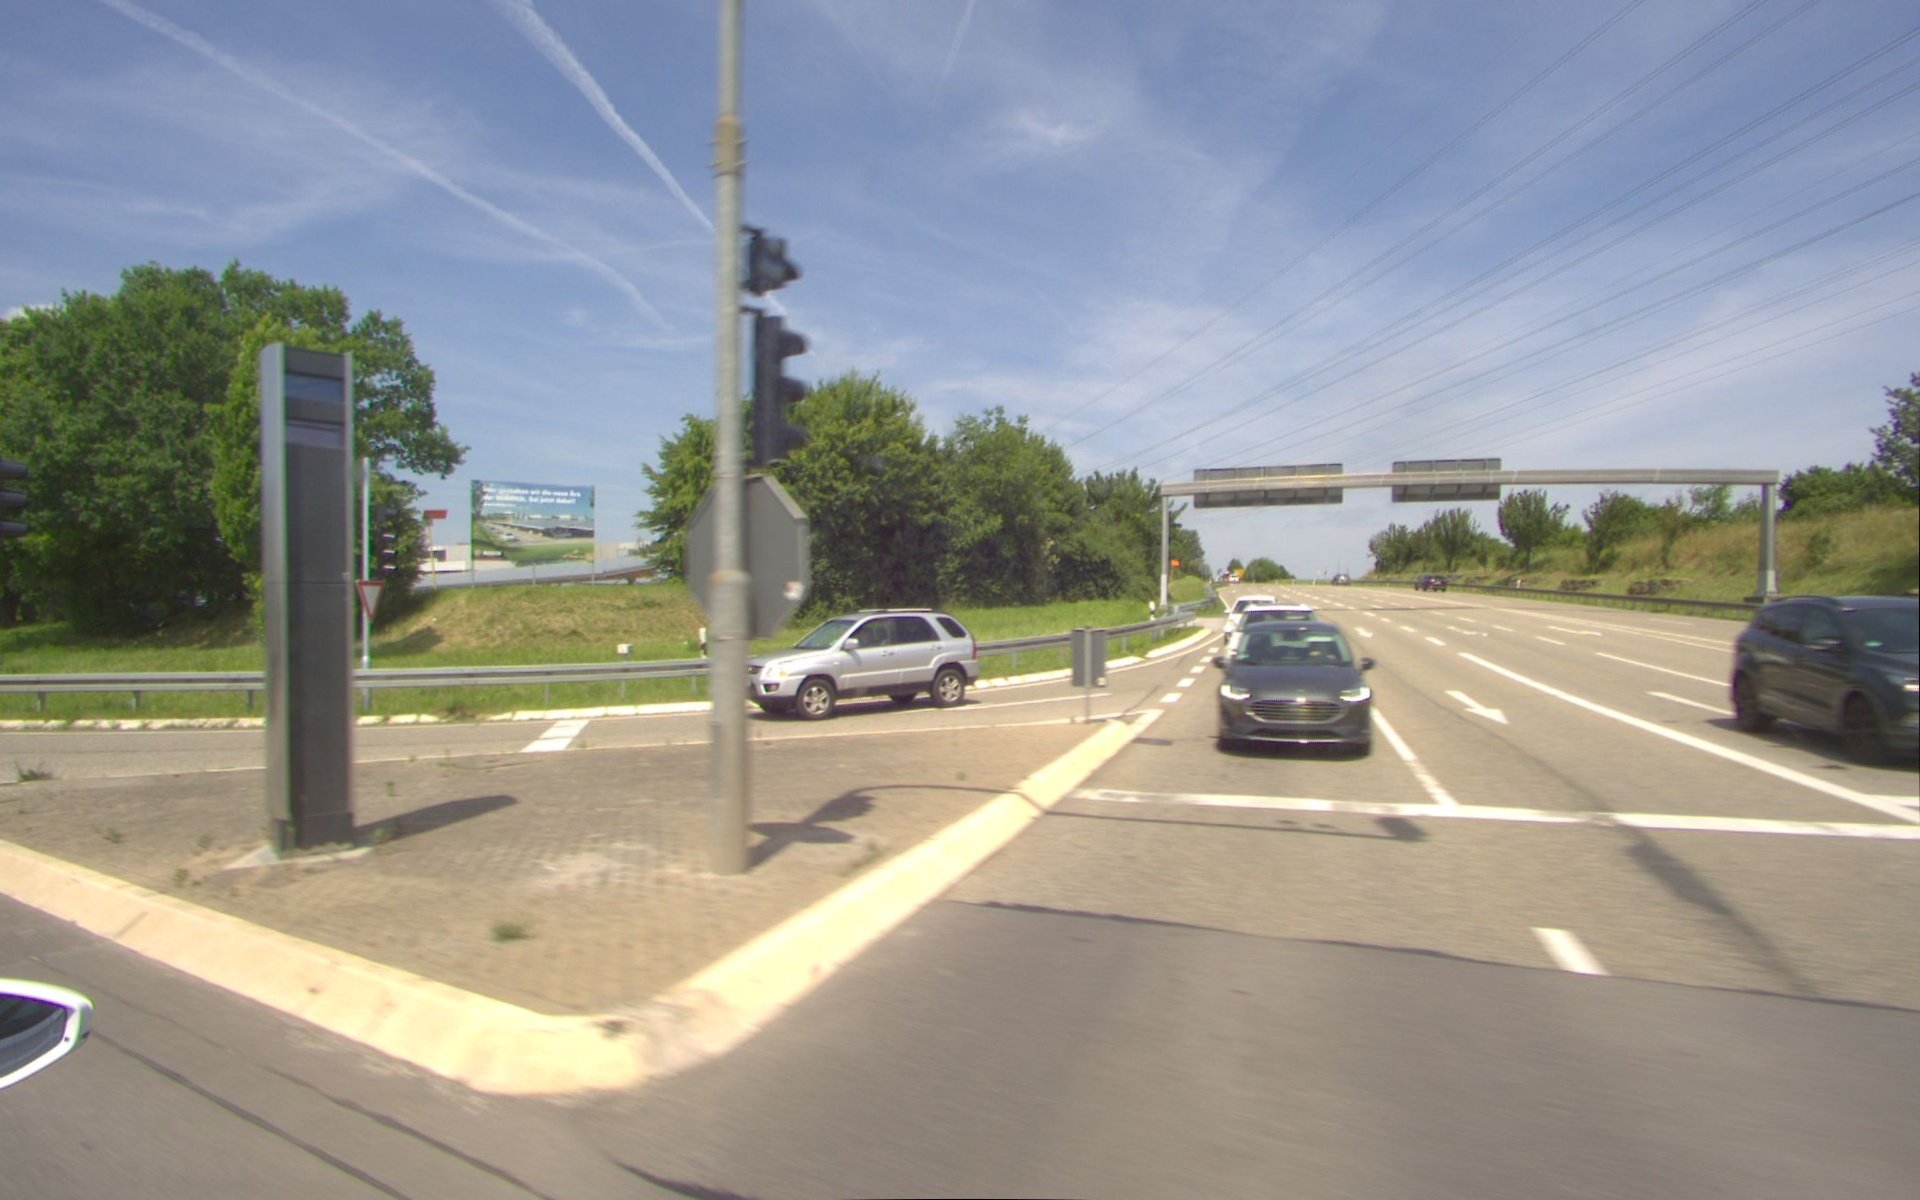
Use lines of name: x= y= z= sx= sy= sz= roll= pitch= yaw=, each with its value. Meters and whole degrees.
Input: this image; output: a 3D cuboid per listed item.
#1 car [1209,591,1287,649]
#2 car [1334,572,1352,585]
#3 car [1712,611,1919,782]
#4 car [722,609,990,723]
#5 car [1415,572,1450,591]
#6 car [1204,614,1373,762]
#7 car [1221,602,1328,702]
car: x=9.388 y=0.606 z=32.441 sx=1.753 sy=1.622 sz=3.983 roll=0 pitch=2 yaw=26
car: x=49.897 y=-2.763 z=130.580 sx=1.719 sy=1.554 sz=4.289 roll=0 pitch=3 yaw=16
car: x=10.134 y=0.906 z=10.957 sx=1.686 sy=1.530 sz=4.365 roll=-1 pitch=-1 yaw=18
car: x=-1.754 y=1.066 z=17.504 sx=4.317 sy=1.676 sz=1.824 roll=-1 pitch=-1 yaw=-36
car: x=40.908 y=-1.621 z=86.768 sx=1.718 sy=1.554 sz=4.292 roll=2 pitch=3 yaw=11
car: x=4.207 y=0.978 z=12.540 sx=1.687 sy=1.530 sz=3.991 roll=-2 pitch=-2 yaw=22
car: x=6.071 y=0.910 z=19.422 sx=1.748 sy=1.614 sz=4.364 roll=-1 pitch=1 yaw=17
